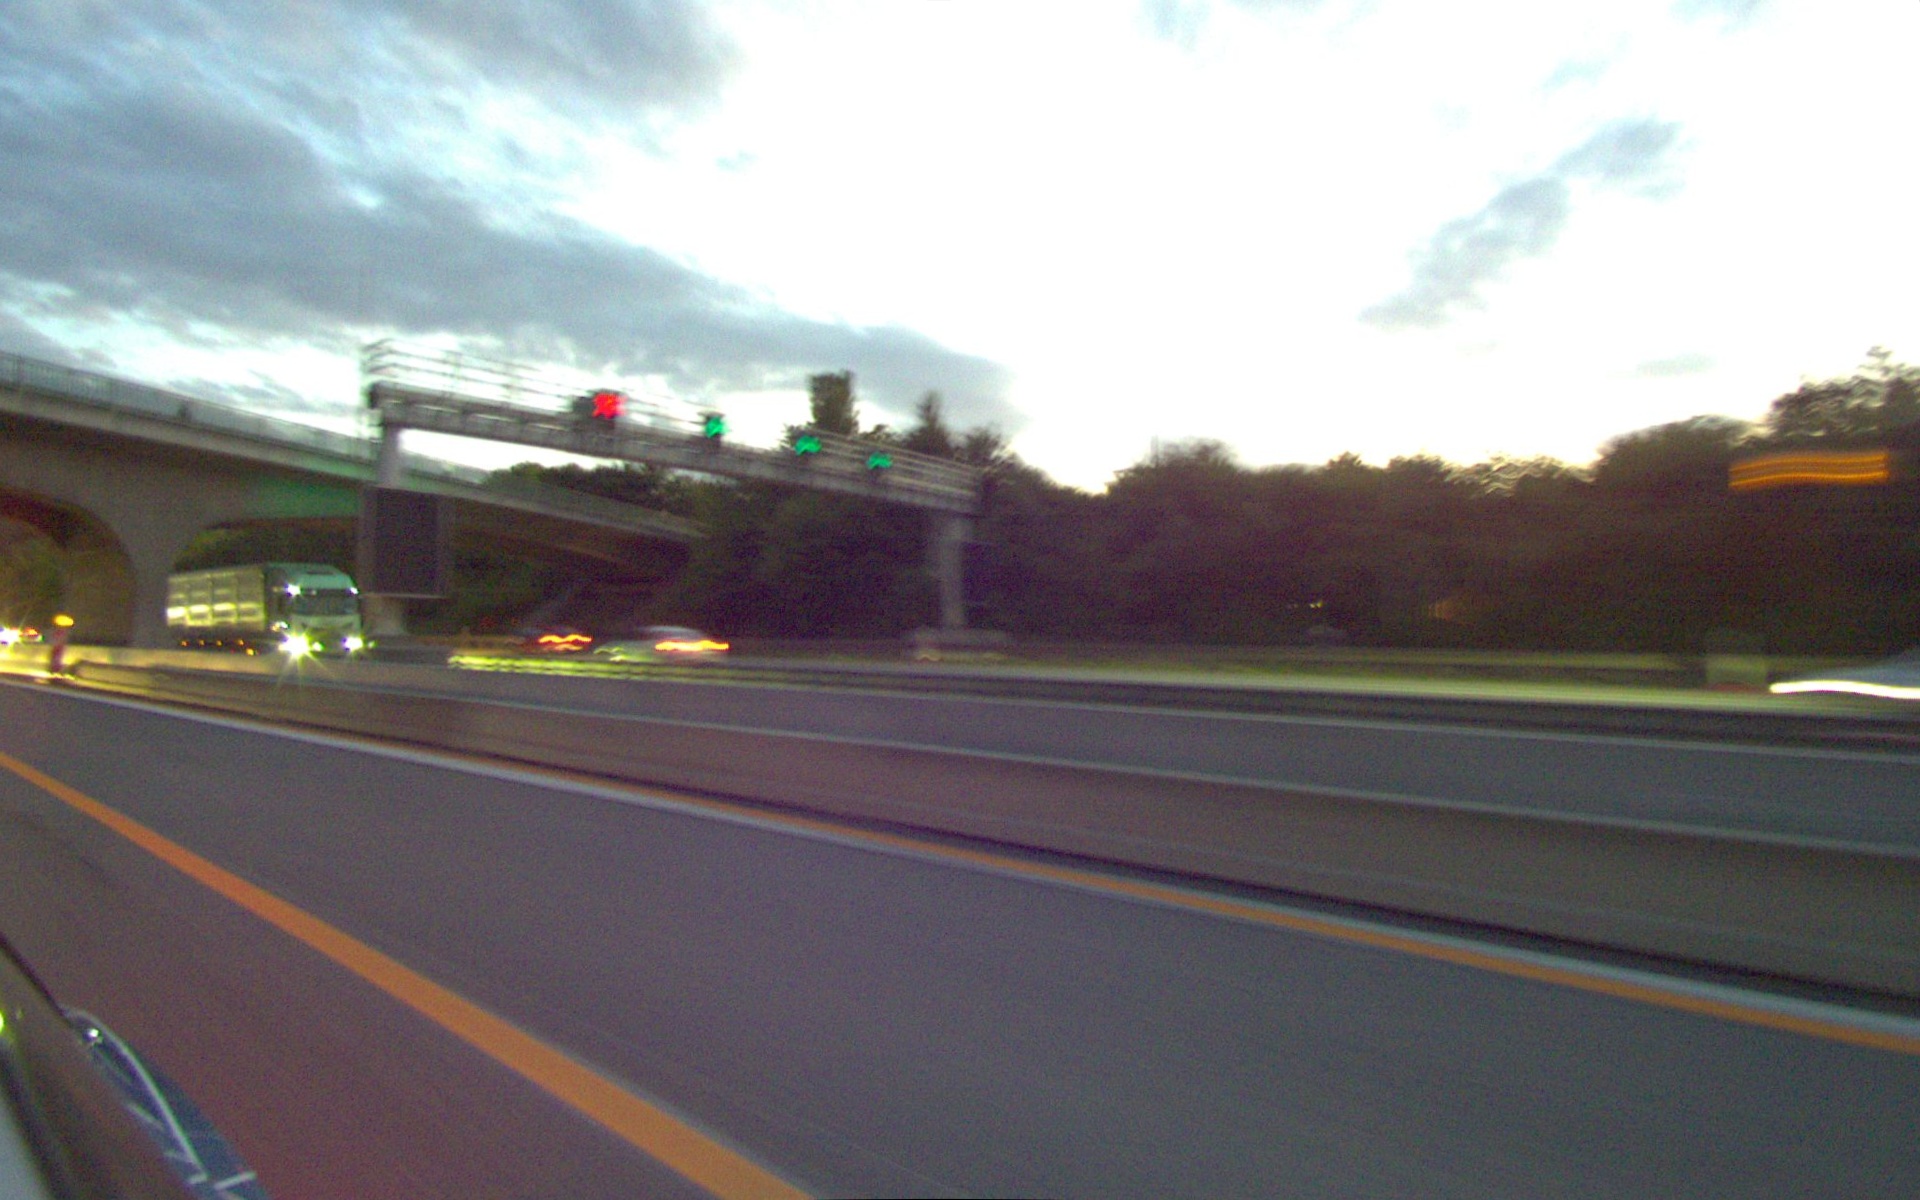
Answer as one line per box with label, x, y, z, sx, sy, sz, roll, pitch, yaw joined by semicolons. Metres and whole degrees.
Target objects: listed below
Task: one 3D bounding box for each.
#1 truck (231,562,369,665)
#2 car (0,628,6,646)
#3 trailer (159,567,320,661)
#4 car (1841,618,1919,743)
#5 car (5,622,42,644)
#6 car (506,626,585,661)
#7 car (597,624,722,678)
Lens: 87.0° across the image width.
truck;-26.591;0.523;40.667;6.294;3.803;2.776;-1;0;38
car;-79.297;3.019;82.291;3.992;1.492;1.771;-1;0;36
trailer;-32.558;0.612;45.455;11.822;3.811;2.771;-1;0;39
car;15.116;1.112;13.620;4.838;1.673;1.812;-1;0;40
car;-99.237;3.482;107.217;4.793;2.206;1.975;-1;0;37
car;-19.096;1.987;46.607;3.926;1.466;1.686;-1;0;39
car;-10.542;1.721;35.309;4.838;1.673;1.812;-1;0;40
